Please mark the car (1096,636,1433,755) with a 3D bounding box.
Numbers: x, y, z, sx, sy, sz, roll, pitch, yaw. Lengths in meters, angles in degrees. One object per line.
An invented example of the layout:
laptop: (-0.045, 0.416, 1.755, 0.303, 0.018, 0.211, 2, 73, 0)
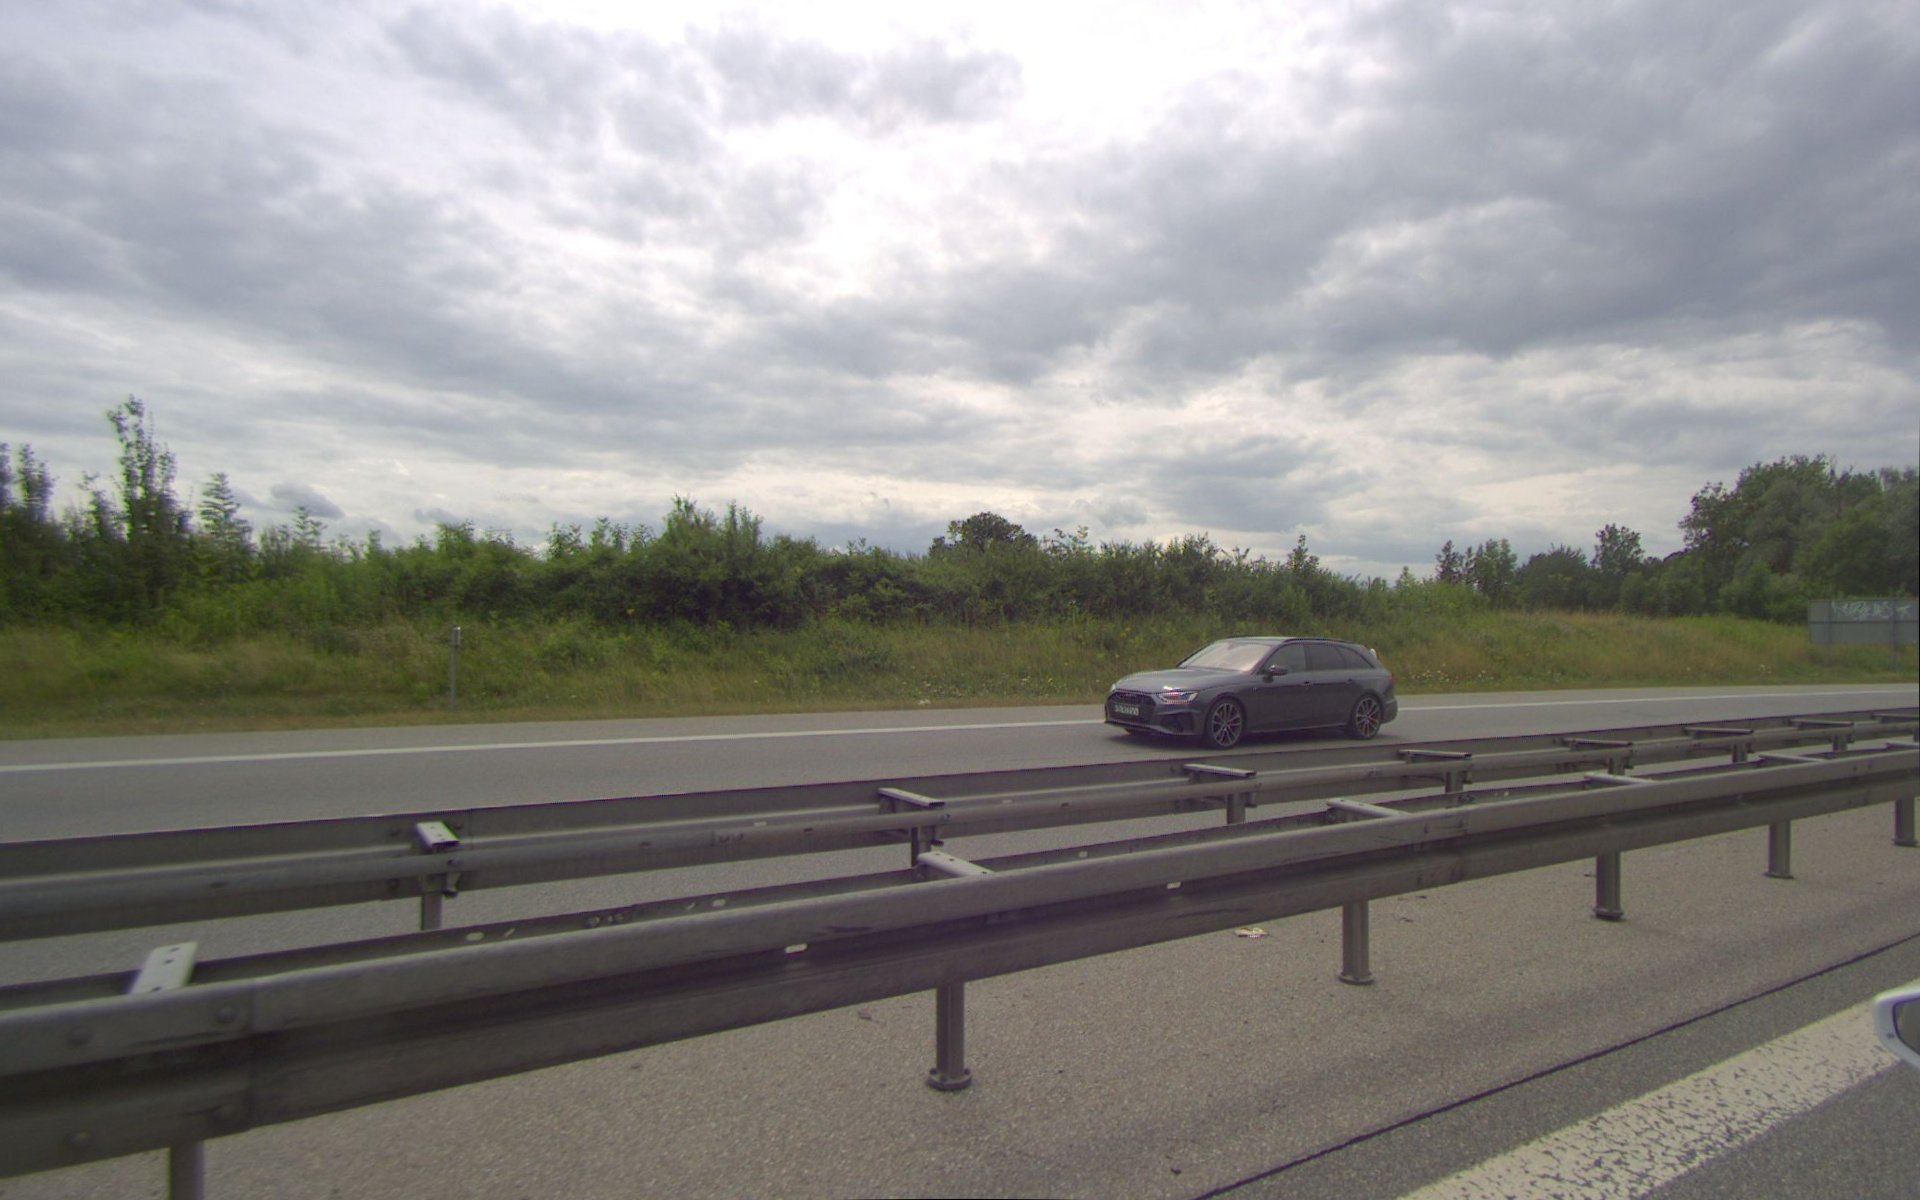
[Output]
car: (4.371, 1.247, 14.121, 4.882, 1.370, 1.696, 2, 0, -31)
